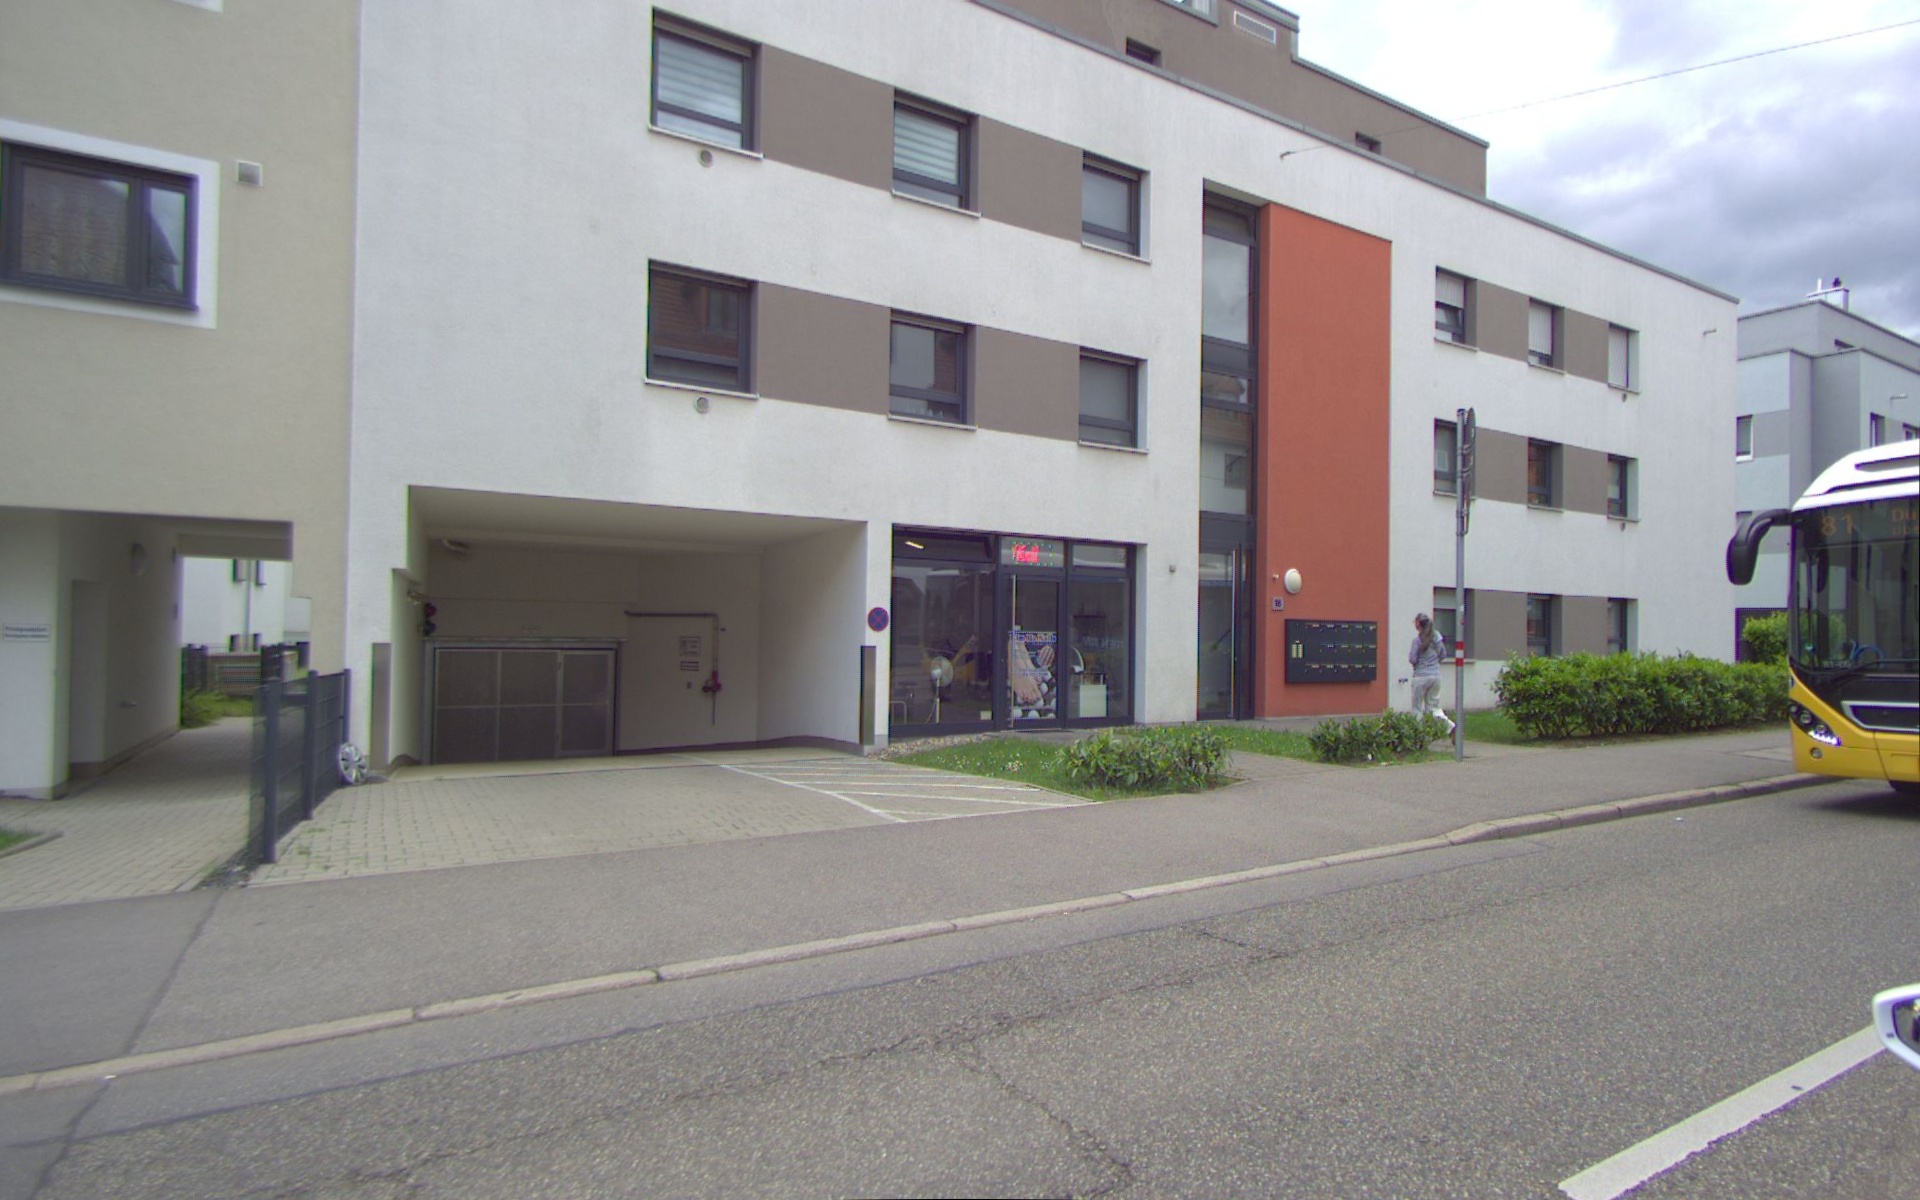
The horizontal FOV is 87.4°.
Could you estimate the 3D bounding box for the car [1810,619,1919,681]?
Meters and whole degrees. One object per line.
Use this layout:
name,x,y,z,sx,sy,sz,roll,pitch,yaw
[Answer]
car,26.695,1.402,28.096,1.702,1.689,4.149,2,-2,-26

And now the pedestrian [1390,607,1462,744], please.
pedestrian,5.795,0.924,12.514,0.628,1.664,0.520,1,-1,-6

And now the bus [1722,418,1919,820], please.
bus,13.050,0.272,11.298,11.870,3.317,2.928,1,-2,-31
